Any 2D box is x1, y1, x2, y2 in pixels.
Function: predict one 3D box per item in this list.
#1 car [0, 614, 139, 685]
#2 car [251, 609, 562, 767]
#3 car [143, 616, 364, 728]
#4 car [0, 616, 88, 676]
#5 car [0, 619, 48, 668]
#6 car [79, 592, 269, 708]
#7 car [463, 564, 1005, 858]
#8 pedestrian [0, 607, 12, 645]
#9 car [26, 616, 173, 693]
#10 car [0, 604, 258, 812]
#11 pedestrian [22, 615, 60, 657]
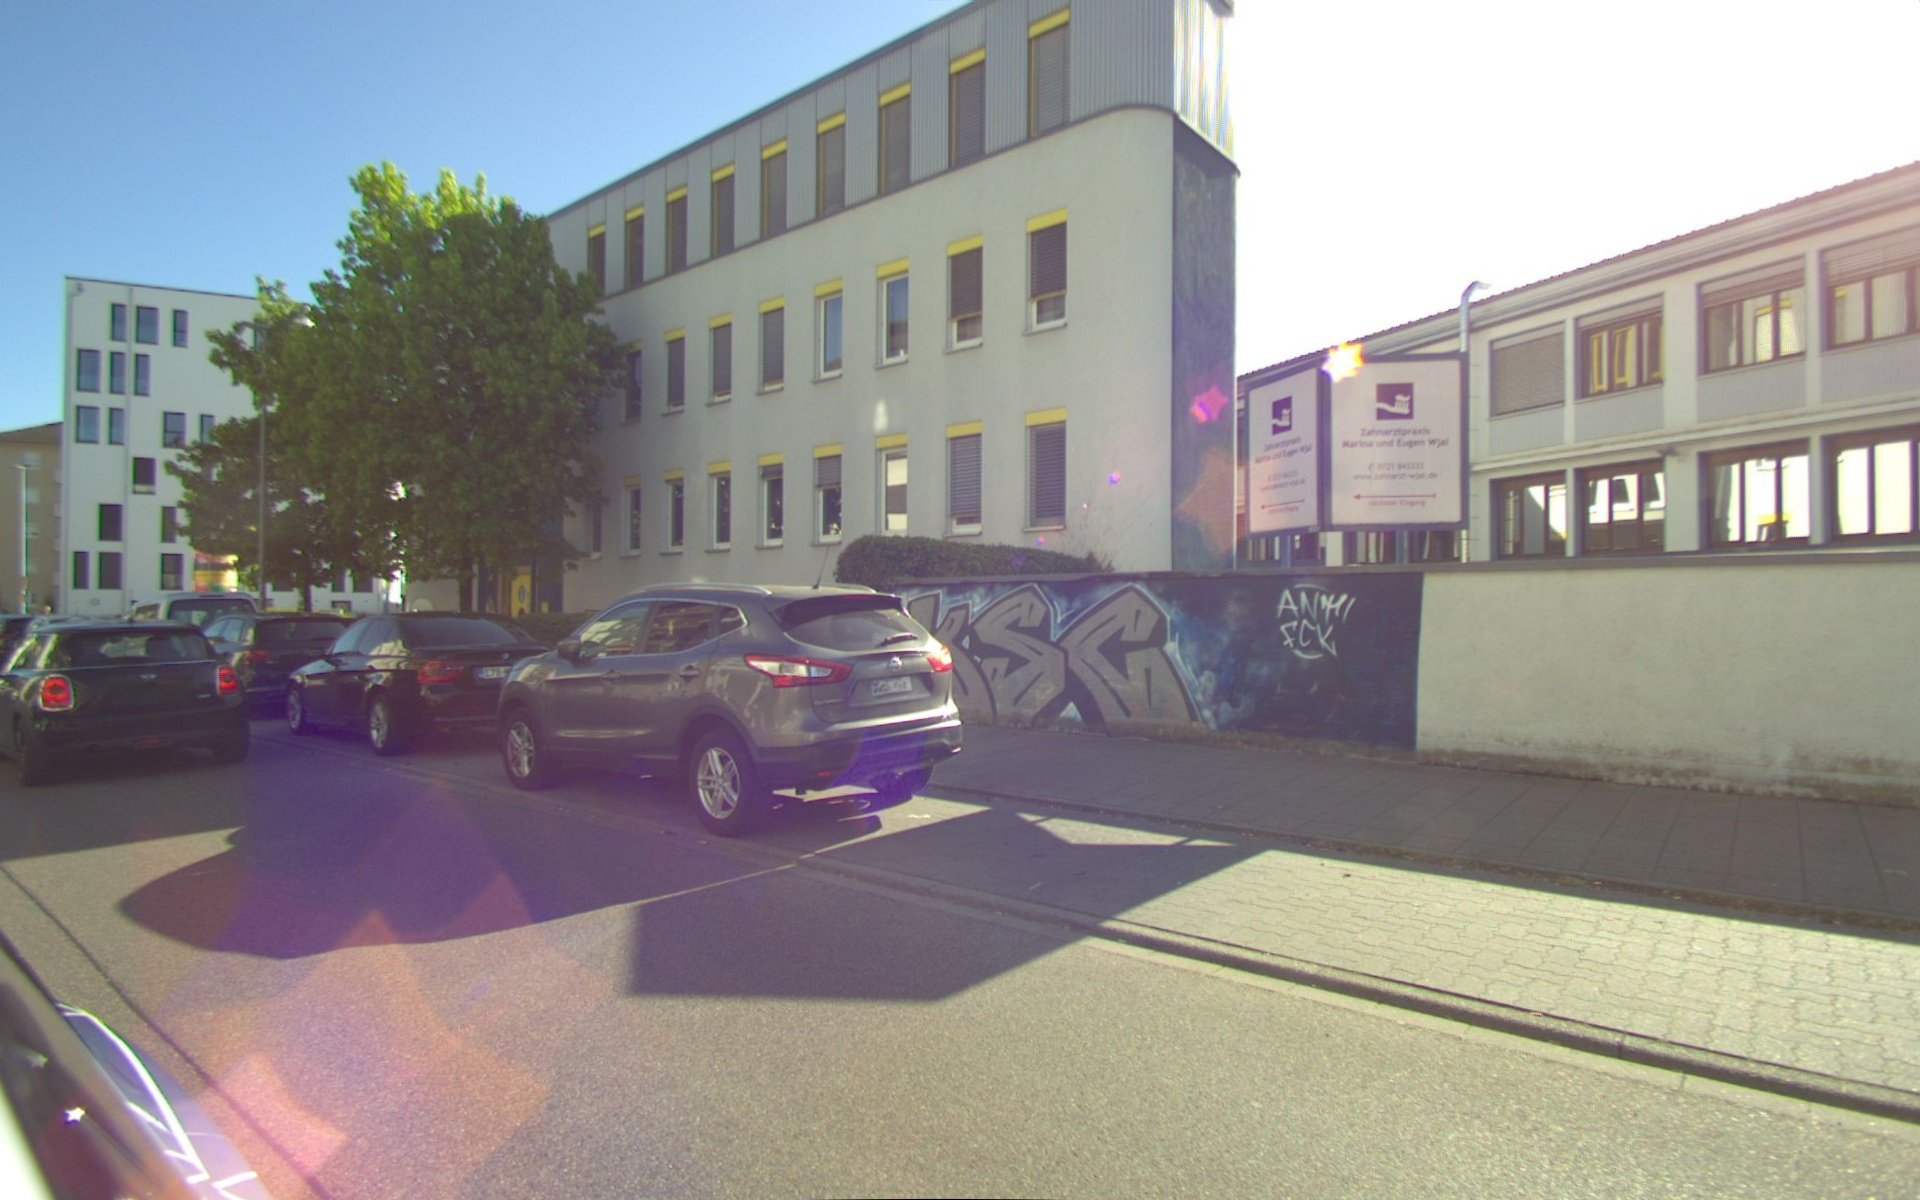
[{"bbox_3d":[-21.906,1.135,24.716,4.618,1.541,1.890,0,-1,38],"label":"car"},{"bbox_3d":[-6.449,0.871,11.574,4.437,1.476,1.708,-1,-2,41],"label":"car"},{"bbox_3d":[-10.590,0.975,15.075,3.994,1.451,1.583,-1,-1,38],"label":"car"},{"bbox_3d":[-25.723,1.208,27.781,4.374,1.490,1.890,0,-1,38],"label":"car"},{"bbox_3d":[-29.409,1.300,30.785,4.218,1.421,1.772,-1,-1,38],"label":"car"},{"bbox_3d":[-14.199,0.854,18.206,4.334,1.853,1.672,-1,-2,38],"label":"car"},{"bbox_3d":[-1.917,0.651,7.607,4.419,1.598,1.702,-1,-2,41],"label":"car"},{"bbox_3d":[-50.024,1.350,52.749,0.778,1.899,0.849,1,0,-35],"label":"pedestrian"},{"bbox_3d":[-18.202,1.078,21.333,4.609,1.450,1.714,-1,-2,41],"label":"car"},{"bbox_3d":[-8.683,0.897,10.182,3.727,1.524,1.723,3,3,40],"label":"car"},{"bbox_3d":[-37.869,1.467,41.714,0.962,1.727,0.876,1,-2,-29],"label":"pedestrian"}]
